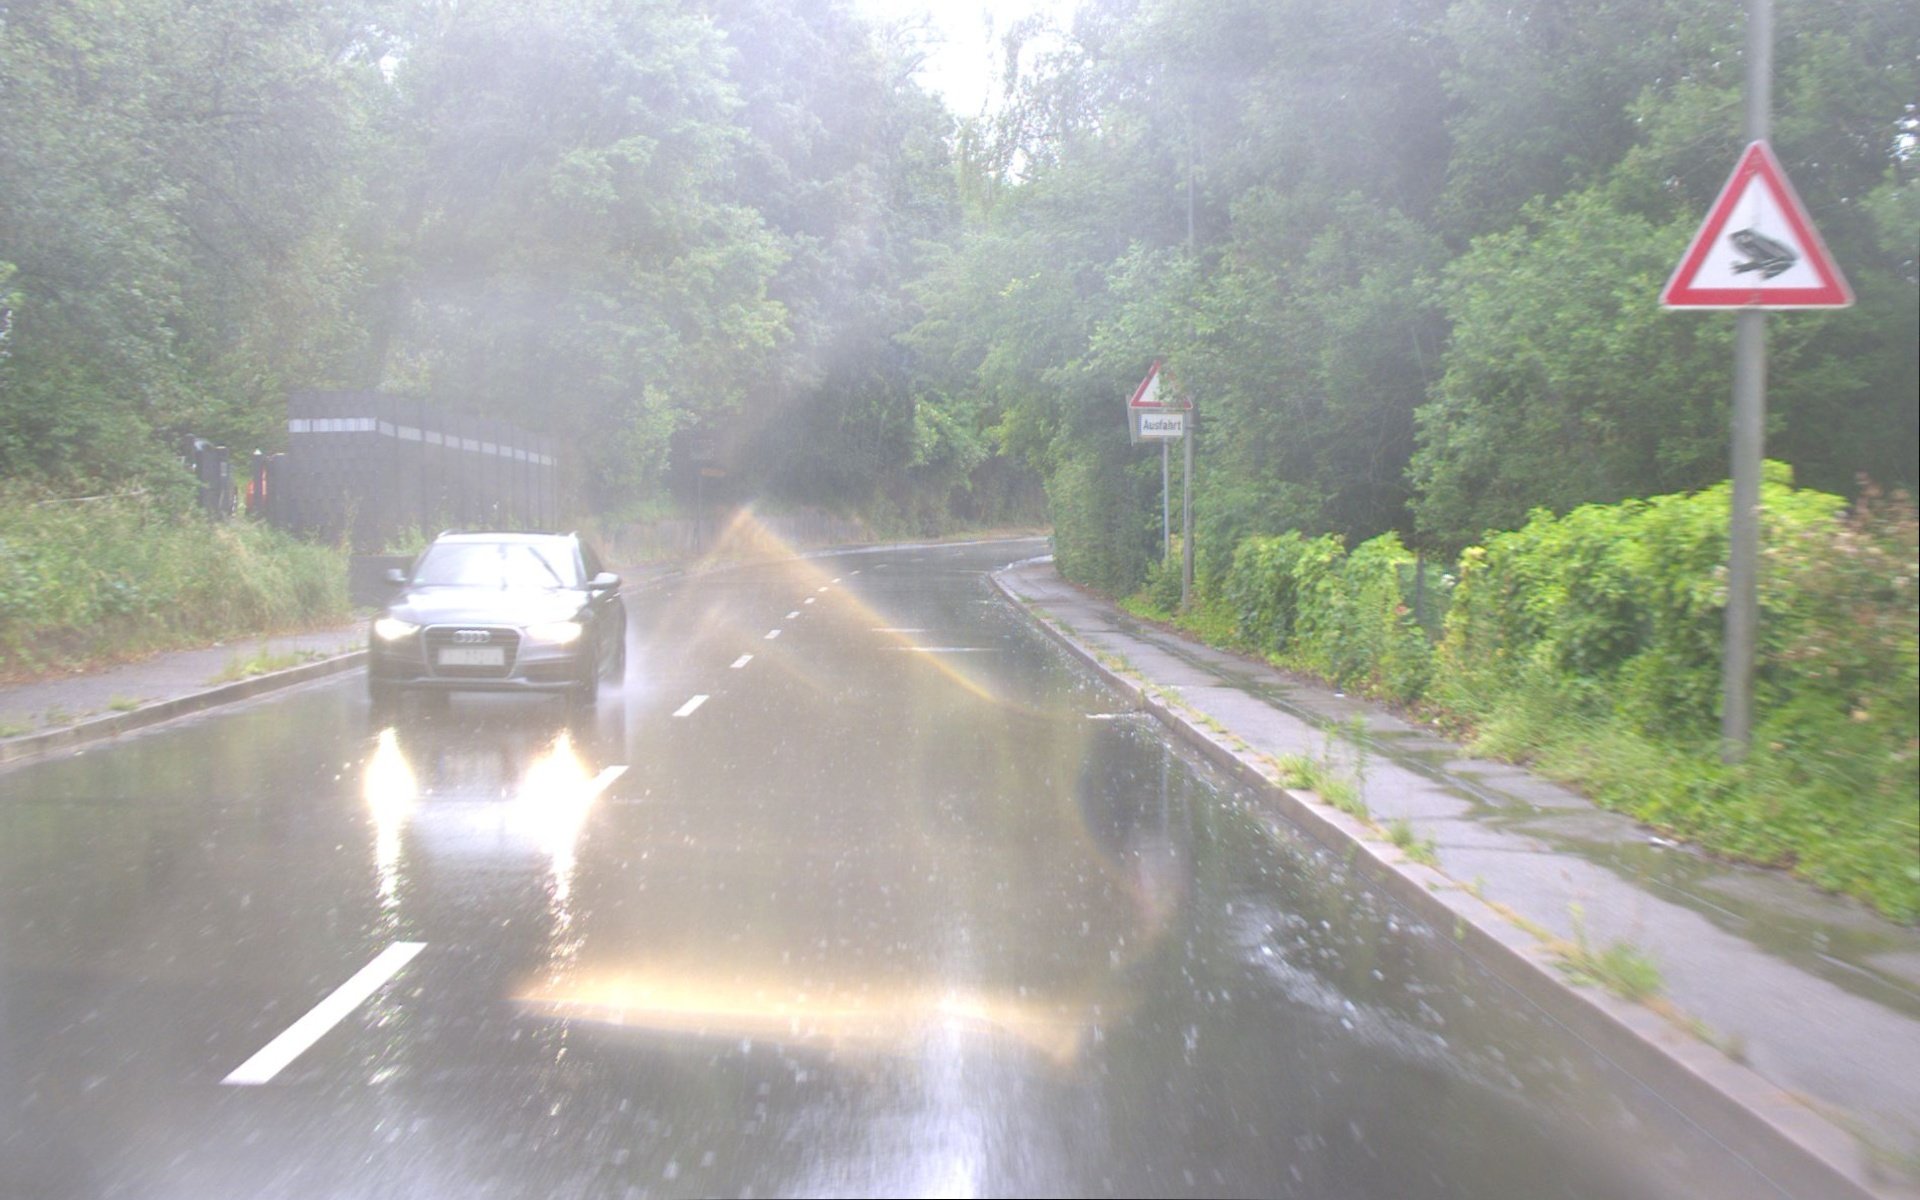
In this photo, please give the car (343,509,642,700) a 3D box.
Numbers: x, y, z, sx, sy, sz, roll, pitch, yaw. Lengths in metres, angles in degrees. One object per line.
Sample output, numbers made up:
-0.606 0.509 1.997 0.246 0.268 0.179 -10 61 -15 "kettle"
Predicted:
-3.910 -0.022 29.470 1.993 1.449 4.428 1 2 -1 "car"
